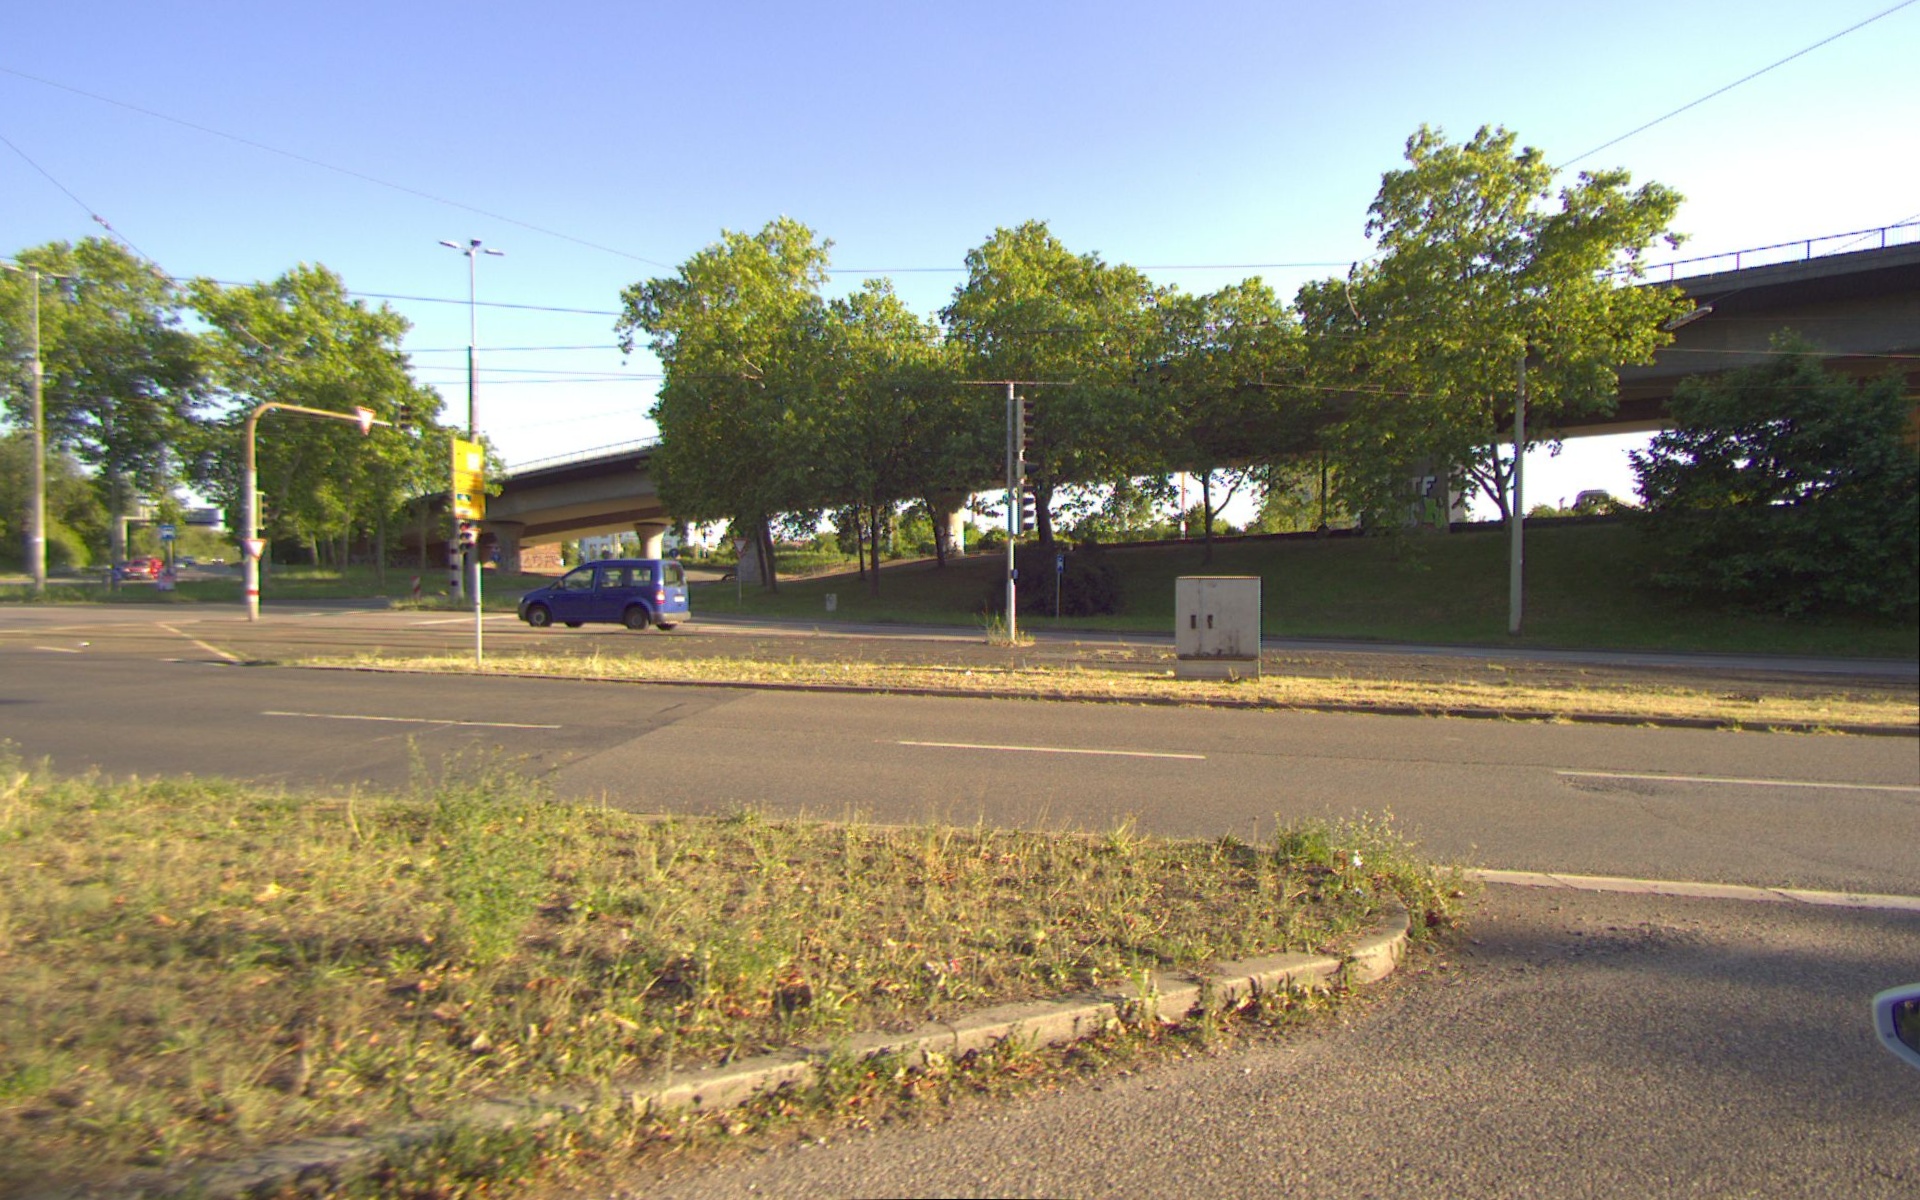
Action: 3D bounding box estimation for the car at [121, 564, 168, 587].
[{"bbox_3d":[-67.275,-1.991,82.930,1.857,1.795,3.980,1,0,-21],"label":"car"}]

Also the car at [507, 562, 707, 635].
[{"bbox_3d":[-9.016,-0.048,25.788,4.426,1.715,2.001,1,1,11],"label":"car"}]
